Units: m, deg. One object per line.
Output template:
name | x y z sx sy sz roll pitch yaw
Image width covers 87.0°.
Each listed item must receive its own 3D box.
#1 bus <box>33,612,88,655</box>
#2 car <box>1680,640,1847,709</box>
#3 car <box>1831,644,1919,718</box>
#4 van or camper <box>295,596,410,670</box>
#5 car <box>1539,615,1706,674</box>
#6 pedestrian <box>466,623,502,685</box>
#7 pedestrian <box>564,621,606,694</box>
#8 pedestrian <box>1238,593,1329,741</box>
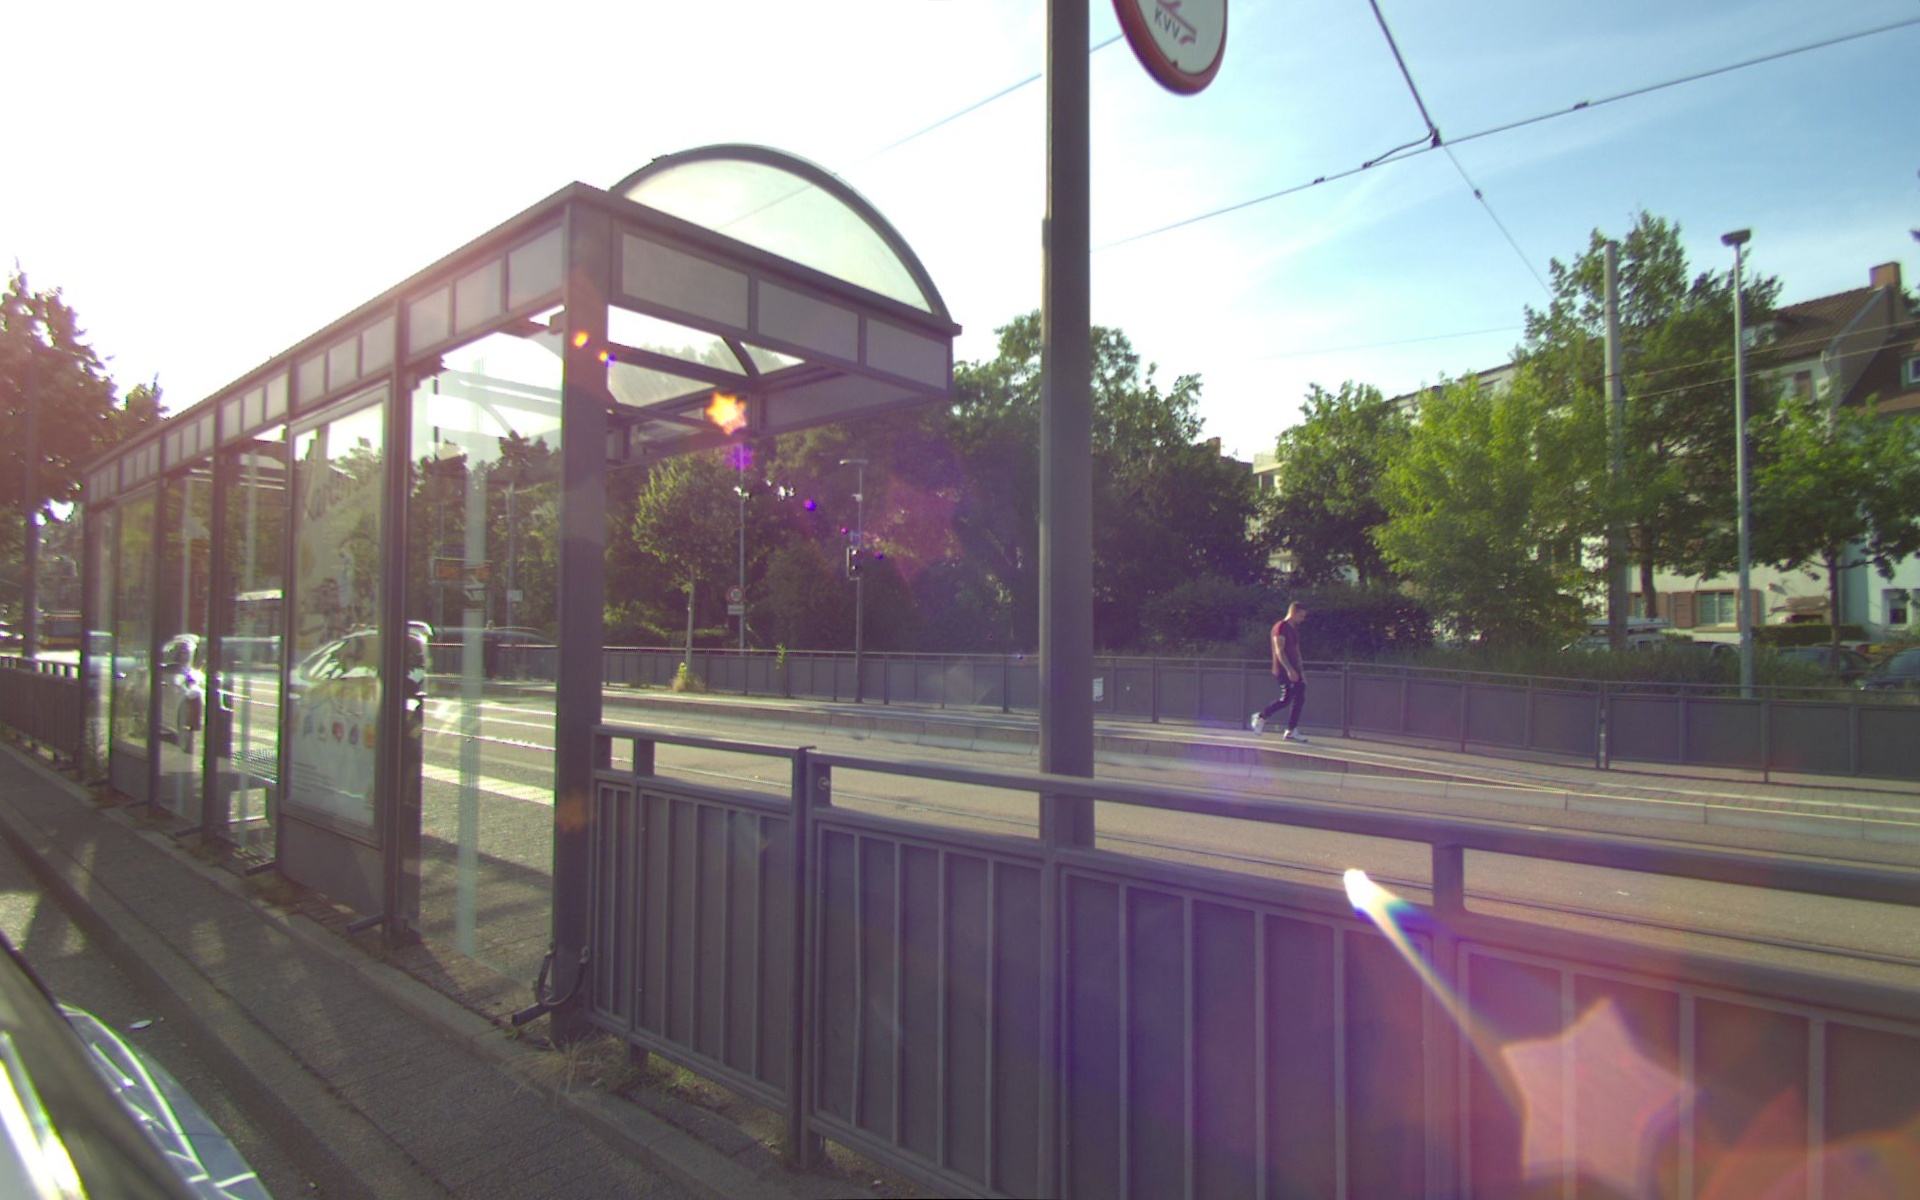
bus | -76.140 2.747 85.600 9.258 3.461 2.405 -1 0 41
car | 18.166 1.630 22.850 3.935 1.409 2.004 2 -3 -37
car | 19.618 1.603 20.623 3.935 1.409 2.004 2 -3 -37
van or camper | -26.504 1.388 44.041 6.408 2.990 2.494 -1 0 41
car | 17.923 1.204 27.384 3.930 1.497 1.854 1 -3 -22
pedestrian | -13.329 1.506 28.331 0.618 1.697 0.613 -2 -6 41
pedestrian | -8.931 1.363 24.128 0.618 1.697 0.613 -2 -6 41
pedestrian | 3.860 0.798 12.079 0.877 1.697 0.547 -2 -6 41
